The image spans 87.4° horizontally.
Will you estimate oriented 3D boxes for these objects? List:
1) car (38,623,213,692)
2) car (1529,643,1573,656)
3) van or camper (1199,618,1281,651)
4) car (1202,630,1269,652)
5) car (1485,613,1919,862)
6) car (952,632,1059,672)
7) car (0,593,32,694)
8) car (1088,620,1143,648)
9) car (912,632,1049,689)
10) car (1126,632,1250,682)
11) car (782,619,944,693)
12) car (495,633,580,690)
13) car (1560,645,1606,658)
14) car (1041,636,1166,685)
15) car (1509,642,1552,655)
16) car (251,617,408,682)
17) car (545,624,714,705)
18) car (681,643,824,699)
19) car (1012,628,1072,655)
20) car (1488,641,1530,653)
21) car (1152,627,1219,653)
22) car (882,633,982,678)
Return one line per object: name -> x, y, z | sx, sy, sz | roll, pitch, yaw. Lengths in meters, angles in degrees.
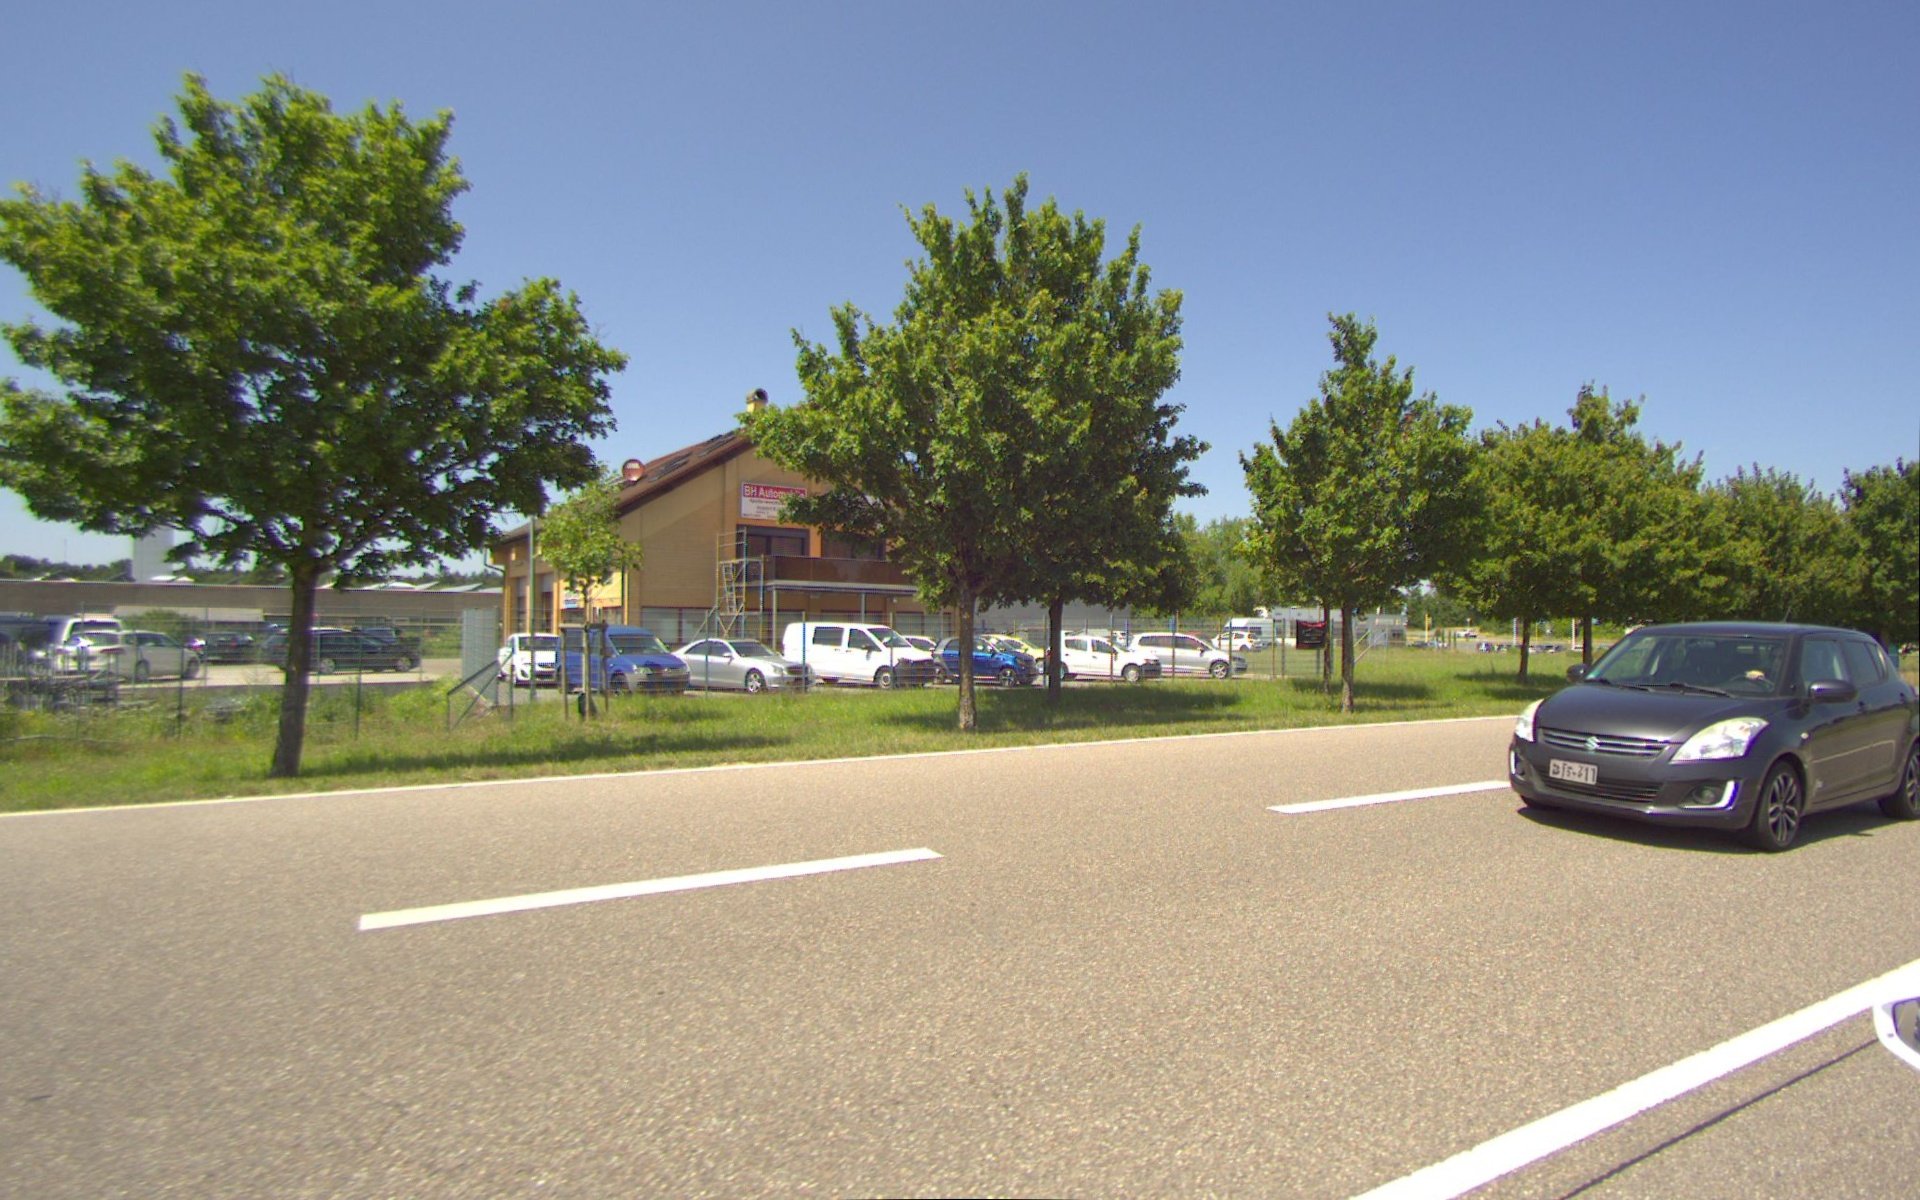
car -> -23.758, 1.616, 28.865 | 2.021, 1.830, 4.622 | 1, -2, -14
car -> 67.420, 5.654, 114.596 | 3.922, 1.412, 2.000 | 1, -2, -2
van or camper -> 21.274, 2.624, 76.151 | 6.473, 2.394, 2.447 | 2, -1, -35
car -> 18.635, 2.740, 68.073 | 3.945, 1.372, 1.988 | 0, -2, 44
car -> 6.084, 0.897, 7.912 | 3.840, 1.519, 1.672 | 1, 0, -30
car -> 1.813, 2.023, 39.745 | 3.920, 1.416, 1.739 | 1, -1, 17
car -> -27.459, 1.114, 25.478 | 2.318, 2.758, 5.747 | 0, -2, 2
car -> 12.064, 2.632, 78.070 | 1.980, 2.040, 3.961 | 2, -1, -35
car -> 0.663, 1.877, 32.135 | 3.923, 1.617, 1.999 | 1, -1, 24
car -> 8.389, 2.071, 37.007 | 4.257, 1.564, 1.589 | 2, 0, 20
car -> -2.931, 1.606, 30.127 | 4.580, 1.980, 1.824 | 1, -1, 28
car -> -12.280, 1.732, 29.084 | 1.625, 1.427, 3.664 | 1, -1, -34
car -> 68.671, 5.661, 110.755 | 3.922, 1.412, 2.000 | 1, -2, -2
car -> 4.911, 2.027, 34.336 | 3.916, 1.499, 1.673 | 1, -1, 21
car -> 66.992, 5.673, 117.939 | 3.922, 1.412, 2.000 | 1, -2, -2
car -> -25.255, 1.991, 40.471 | 2.016, 2.458, 5.103 | -1, -3, 22
car -> -8.519, 1.565, 25.768 | 4.235, 1.825, 2.018 | 1, -1, 36
car -> -5.692, 1.899, 27.423 | 3.617, 1.281, 1.811 | 1, -1, 34
car -> 4.764, 2.408, 58.477 | 1.420, 1.439, 3.573 | 2, -2, -38
car -> 66.160, 5.674, 121.049 | 3.922, 1.412, 2.000 | 1, -2, -2
car -> 14.471, 2.562, 64.553 | 1.910, 1.528, 3.959 | 2, -2, -36
car -> -1.023, 1.959, 36.208 | 3.285, 1.472, 1.511 | 1, -1, 28
